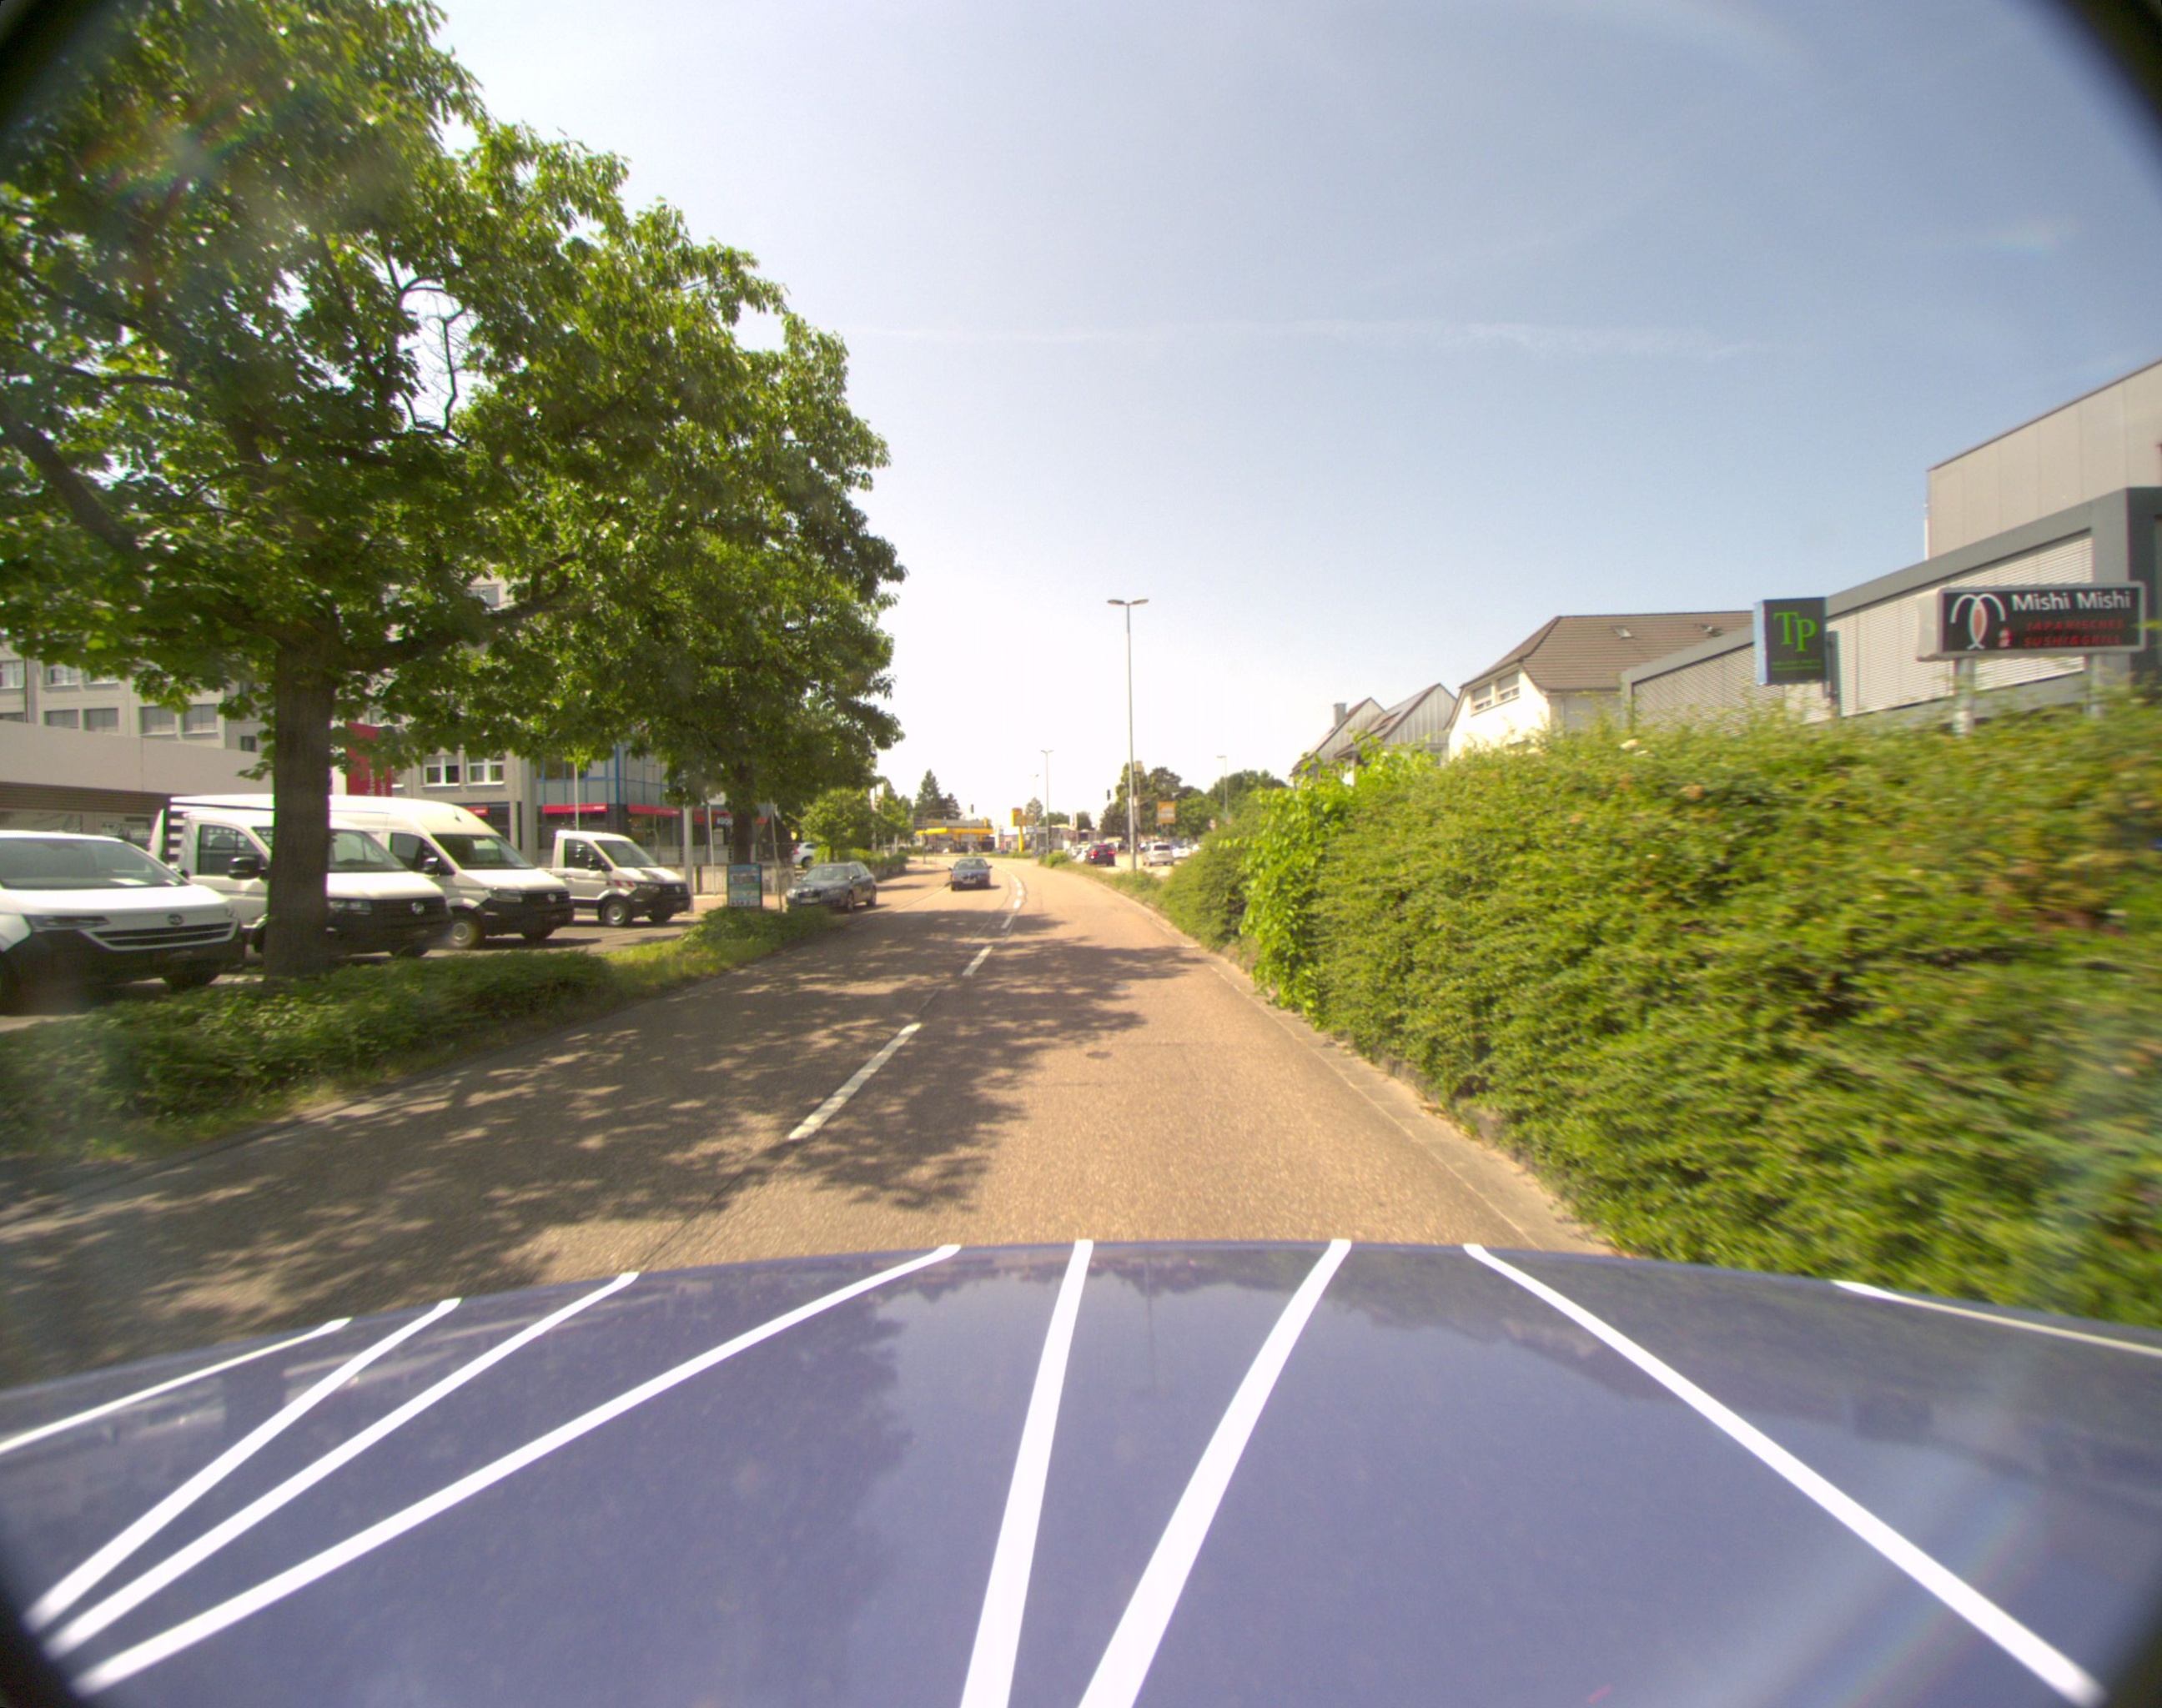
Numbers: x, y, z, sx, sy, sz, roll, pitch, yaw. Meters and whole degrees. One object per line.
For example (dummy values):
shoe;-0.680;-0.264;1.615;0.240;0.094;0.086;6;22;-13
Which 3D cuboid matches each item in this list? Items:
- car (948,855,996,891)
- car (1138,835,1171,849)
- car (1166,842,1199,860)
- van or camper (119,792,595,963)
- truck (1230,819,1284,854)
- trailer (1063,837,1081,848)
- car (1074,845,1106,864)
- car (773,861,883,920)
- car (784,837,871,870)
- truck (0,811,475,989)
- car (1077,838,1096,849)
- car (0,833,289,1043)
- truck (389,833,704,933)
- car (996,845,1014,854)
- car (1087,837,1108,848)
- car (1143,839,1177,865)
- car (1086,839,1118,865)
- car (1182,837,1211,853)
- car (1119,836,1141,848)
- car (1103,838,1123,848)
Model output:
car;-4.719;0.791;33.406;1.698;1.365;3.998;-2;1;-3
car;10.522;-1.729;108.983;4.300;1.891;1.831;0;3;20
car;8.950;-0.284;67.139;1.810;1.346;4.352;-7;2;-5
van or camper;-13.336;0.418;14.361;6.813;2.881;2.275;-1;0;1
truck;20.094;-2.037;86.537;7.049;3.399;2.266;-7;4;-44
trailer;-1.442;-1.870;121.414;1.689;1.694;2.438;-1;2;30
car;0.727;-0.012;63.415;1.869;1.423;4.740;-3;1;-8
car;-7.422;1.008;22.781;1.802;1.398;4.319;-3;1;0
car;-15.368;-0.064;45.999;4.745;1.704;1.996;-3;2;-24
truck;-12.614;0.633;11.510;5.259;2.422;2.111;0;1;3
car;0.907;-1.694;118.178;1.754;1.501;3.824;-2;2;18
car;-12.722;0.885;8.711;4.960;2.101;2.159;-1;0;0
truck;-13.086;0.691;18.910;6.260;2.323;2.369;0;0;3
car;-12.175;-0.723;121.267;1.871;1.358;4.339;0;0;-20
car;2.546;-1.743;116.128;1.914;1.532;3.967;-2;2;23
car;5.549;-0.090;53.713;1.785;1.618;4.340;0;-3;-3
car;1.565;-0.222;57.412;1.914;1.741;4.756;-3;2;-4
car;11.780;-0.943;77.847;1.903;1.557;4.194;-2;2;-5
car;7.120;-1.757;111.667;1.847;1.714;4.006;-2;3;-18
car;4.800;-1.627;113.070;1.712;1.424;3.967;0;3;21
